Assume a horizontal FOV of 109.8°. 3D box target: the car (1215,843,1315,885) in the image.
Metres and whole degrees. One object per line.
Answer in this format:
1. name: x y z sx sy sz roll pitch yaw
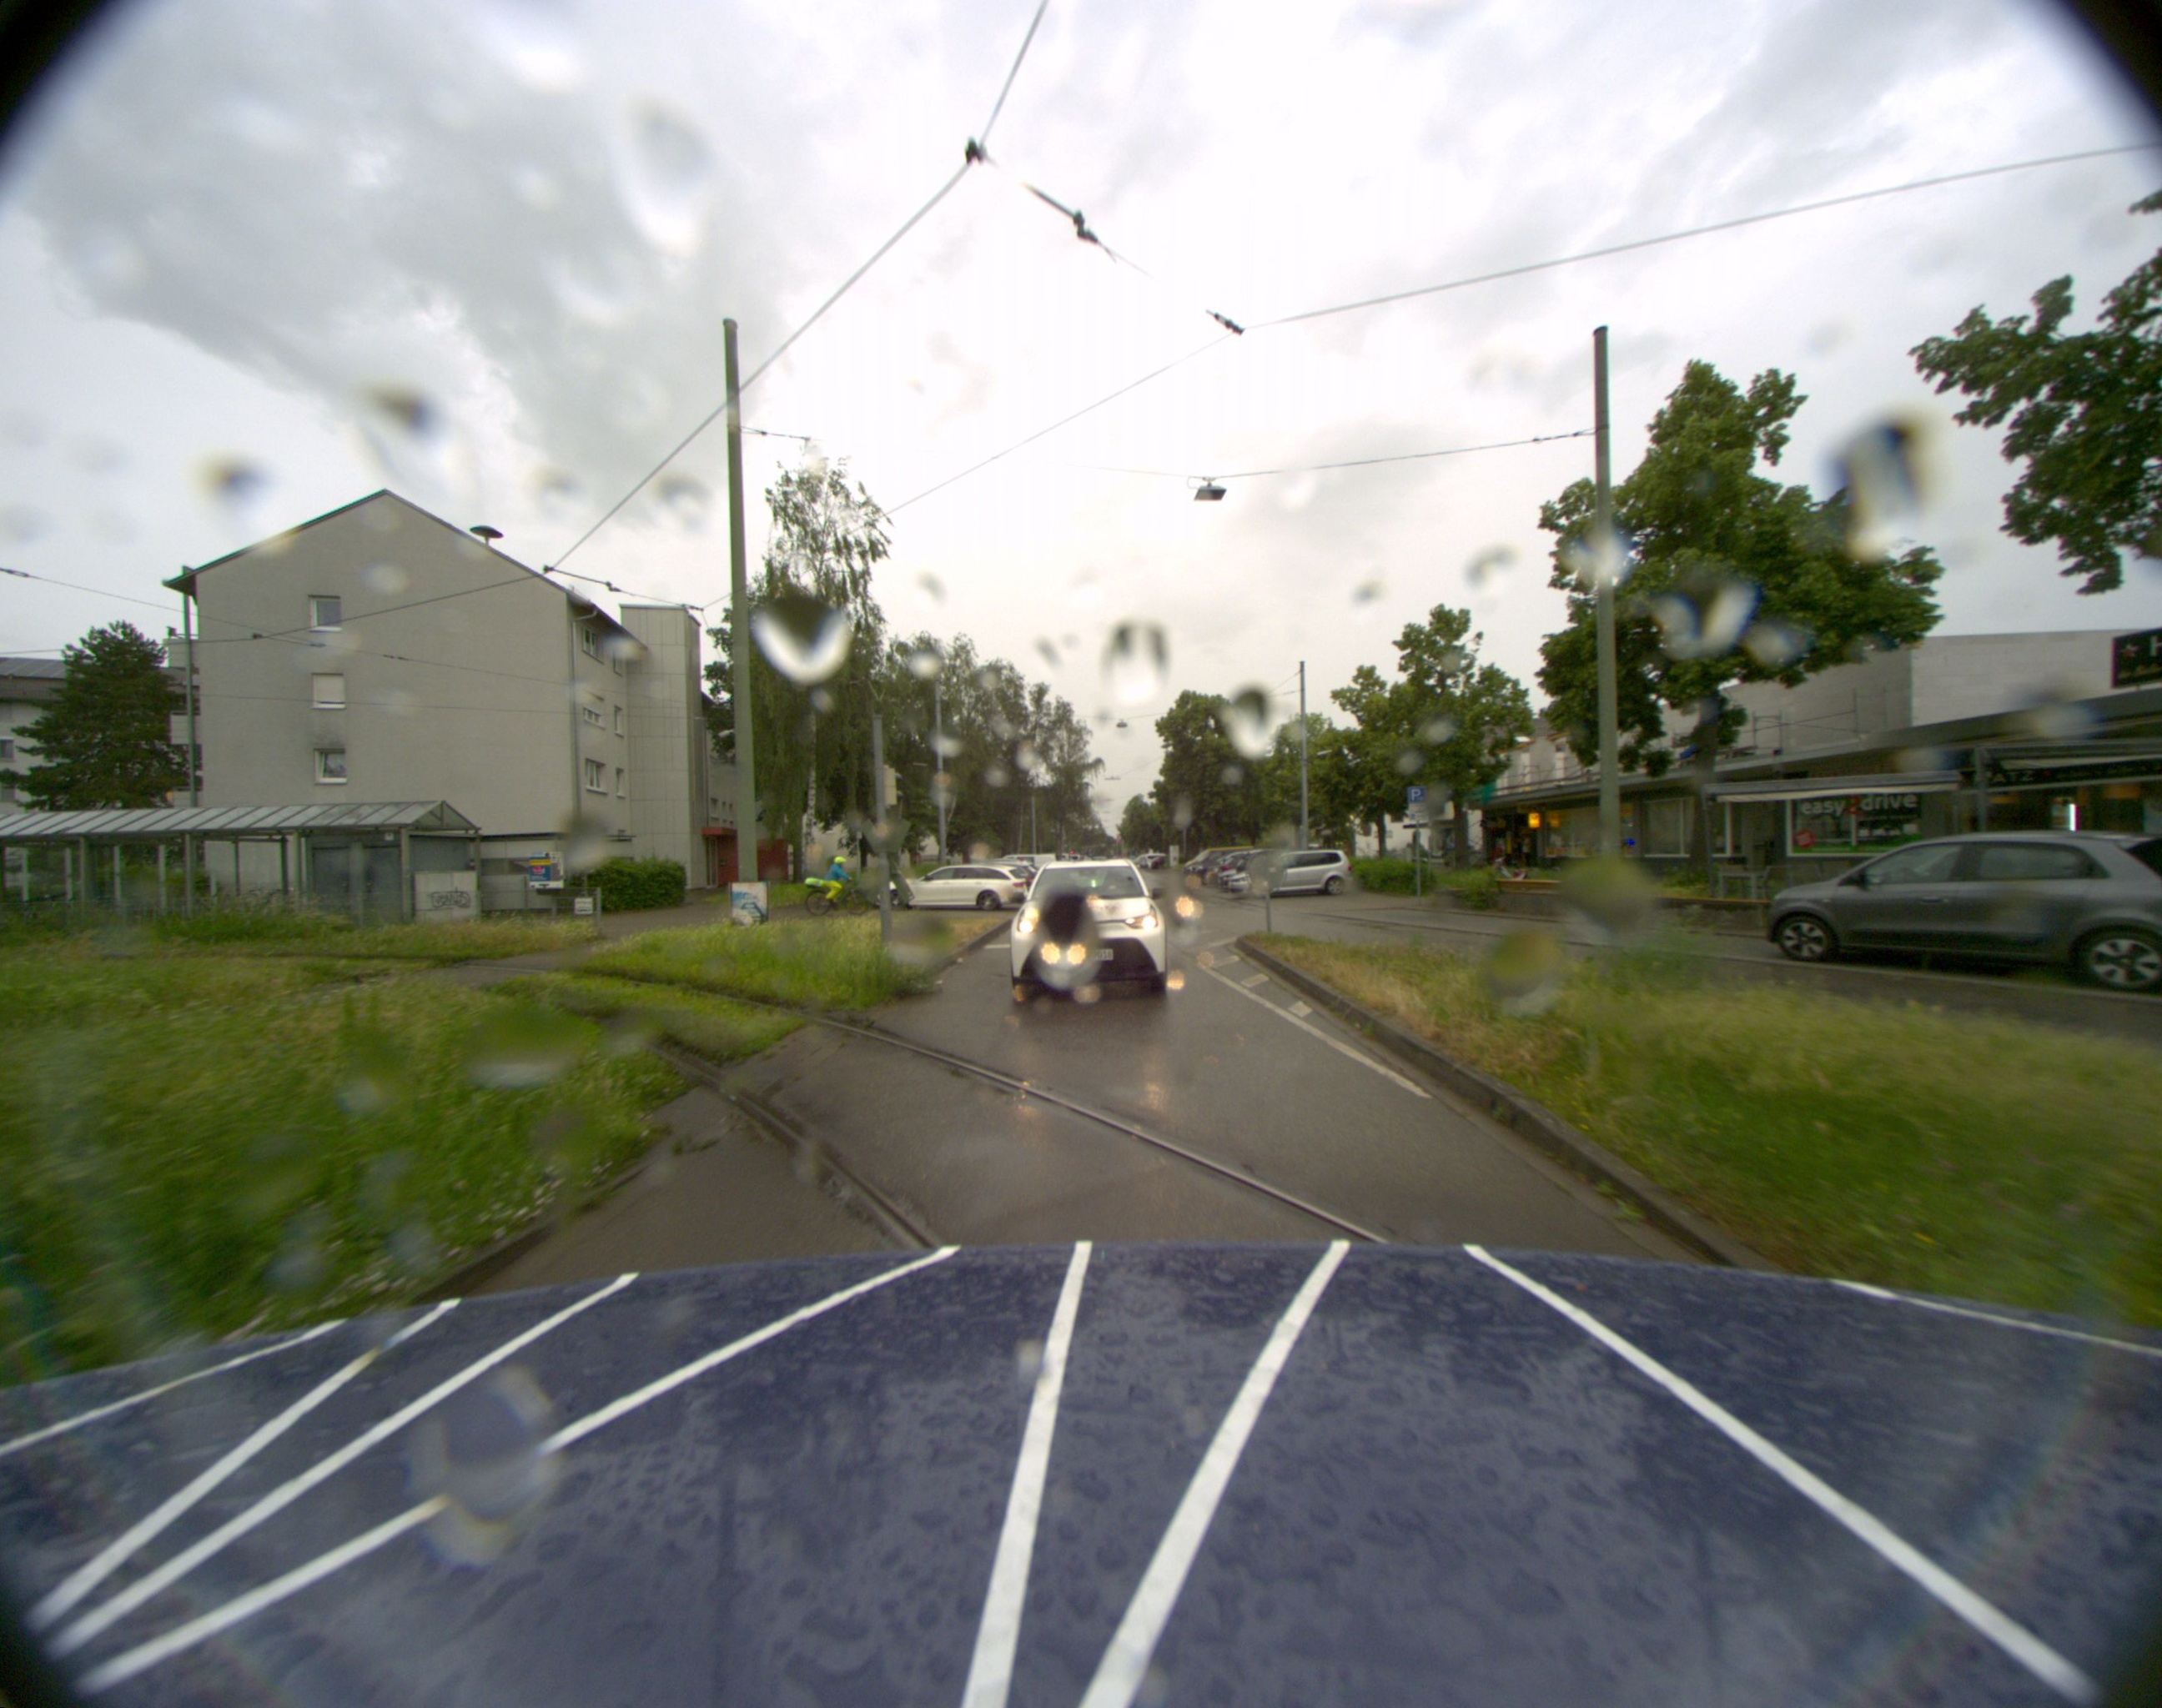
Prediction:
1. car: 8.437 0.459 35.116 4.088 1.699 1.899 -3 0 0

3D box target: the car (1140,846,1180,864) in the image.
1. car: 9.449 0.095 91.035 4.546 1.932 1.899 -3 0 0

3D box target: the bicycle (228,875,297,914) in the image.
1. bicycle: -21.979 1.085 20.427 0.377 0.950 1.238 -3 1 5

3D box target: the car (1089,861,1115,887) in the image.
1. car: 1.713 1.654 63.818 1.998 2.002 4.000 -4 0 0

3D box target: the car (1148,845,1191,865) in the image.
1. car: 9.862 0.128 84.883 4.546 1.932 1.899 -3 0 0

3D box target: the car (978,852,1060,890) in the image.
1. car: -3.544 0.957 43.837 4.441 1.835 1.723 -4 1 3

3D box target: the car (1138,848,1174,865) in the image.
1. car: 9.993 0.325 100.994 4.546 1.932 1.899 -3 0 0

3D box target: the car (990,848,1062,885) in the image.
1. car: -3.535 0.806 49.202 4.443 2.050 1.722 -4 1 -2

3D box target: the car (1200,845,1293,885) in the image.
1. car: 8.068 0.523 37.327 4.088 1.699 1.899 -3 0 0

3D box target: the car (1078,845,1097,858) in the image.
1. car: 1.658 -0.678 187.009 4.546 2.928 1.899 -3 0 0

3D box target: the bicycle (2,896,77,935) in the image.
1. bicycle: -28.232 1.645 20.615 0.418 0.942 1.306 -4 1 -14

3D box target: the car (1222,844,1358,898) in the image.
1. car: 7.543 0.603 27.730 4.334 1.664 2.000 -3 0 0

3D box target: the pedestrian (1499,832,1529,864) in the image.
1. pedestrian: 21.740 -0.291 38.194 1.078 1.575 0.948 -1 2 12

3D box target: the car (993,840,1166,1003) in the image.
1. car: 0.093 0.744 9.624 1.719 1.613 3.717 -2 -2 3

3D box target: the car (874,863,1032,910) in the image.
1. car: -4.122 1.033 25.082 4.837 1.449 2.000 0 0 2

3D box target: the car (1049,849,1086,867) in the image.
1. car: -1.719 0.460 96.548 4.546 2.013 1.899 -3 0 0

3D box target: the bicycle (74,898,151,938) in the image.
1. bicycle: -26.007 1.696 20.429 0.377 0.942 1.238 -3 1 5

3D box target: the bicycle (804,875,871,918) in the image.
1. bicycle: -6.964 1.200 21.765 1.755 1.123 0.727 -2 0 -17

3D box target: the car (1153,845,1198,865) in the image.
1. car: 9.971 0.107 80.386 4.546 1.932 1.899 -3 0 0

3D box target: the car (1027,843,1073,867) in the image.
1. car: -3.069 0.097 75.792 4.443 2.050 1.722 -4 1 -2

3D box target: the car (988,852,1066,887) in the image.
1. car: -3.263 0.908 46.197 4.441 1.835 1.723 -4 1 3

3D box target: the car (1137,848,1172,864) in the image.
1. car: 10.032 0.321 103.624 4.546 1.932 1.899 -3 0 0

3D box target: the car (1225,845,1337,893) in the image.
1. car: 7.925 0.565 30.339 3.944 1.664 1.794 -3 0 0

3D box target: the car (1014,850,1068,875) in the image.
1. car: -3.463 0.742 66.254 4.546 1.932 1.899 -3 0 0

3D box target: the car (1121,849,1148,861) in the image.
1. car: 9.407 0.211 132.989 4.546 1.932 1.899 -3 0 0

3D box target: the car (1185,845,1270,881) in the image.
1. car: 7.743 0.472 40.518 4.088 1.699 1.899 -3 0 0

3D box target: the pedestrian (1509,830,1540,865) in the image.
1. pedestrian: 21.594 -0.321 37.020 1.078 1.704 0.948 -1 2 12

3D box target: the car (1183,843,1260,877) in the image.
1. car: 9.086 0.378 49.367 4.546 1.932 1.899 -3 0 0

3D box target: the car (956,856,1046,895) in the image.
1. car: -3.779 1.001 36.321 3.996 1.576 1.723 -4 1 3

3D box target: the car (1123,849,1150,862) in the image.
1. car: 9.437 0.225 129.368 4.546 1.932 1.899 -3 0 0

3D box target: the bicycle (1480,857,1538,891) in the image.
1. bicycle: 13.965 0.621 24.857 0.594 1.066 1.748 -1 0 -16

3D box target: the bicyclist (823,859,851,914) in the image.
1. bicyclist: -6.995 0.926 21.768 0.699 1.507 0.724 -2 0 -17

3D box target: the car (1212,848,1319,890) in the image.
1. car: 7.902 0.637 32.831 4.088 1.562 2.000 -3 0 0

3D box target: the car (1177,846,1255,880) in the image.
1. car: 8.176 0.522 46.276 4.302 1.799 1.899 -3 0 0

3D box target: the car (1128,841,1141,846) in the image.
1. car: 17.754 -3.504 253.314 3.997 1.688 2.000 -4 1 1

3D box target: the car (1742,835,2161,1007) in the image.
1. car: 10.043 0.609 8.554 1.553 1.495 3.618 -4 0 -16

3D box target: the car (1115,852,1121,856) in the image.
1. car: 11.792 -0.027 241.918 1.998 1.320 4.000 -4 0 2

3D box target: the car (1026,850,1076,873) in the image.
1. car: -2.823 0.671 71.602 4.546 1.932 1.899 -3 0 0

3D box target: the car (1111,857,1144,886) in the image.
1. car: 3.016 1.098 48.587 1.961 1.544 3.999 -2 2 4

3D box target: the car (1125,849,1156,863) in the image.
1. car: 9.285 0.282 119.099 4.546 1.932 1.899 -3 0 0

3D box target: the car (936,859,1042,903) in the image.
1. car: -3.728 1.079 31.143 3.996 1.477 1.723 -4 1 3

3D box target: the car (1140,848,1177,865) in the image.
1. car: 10.049 0.334 98.383 4.545 1.932 1.899 -3 0 1

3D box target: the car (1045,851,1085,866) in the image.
1. car: -1.886 0.530 90.177 4.546 1.574 1.899 -3 0 0
